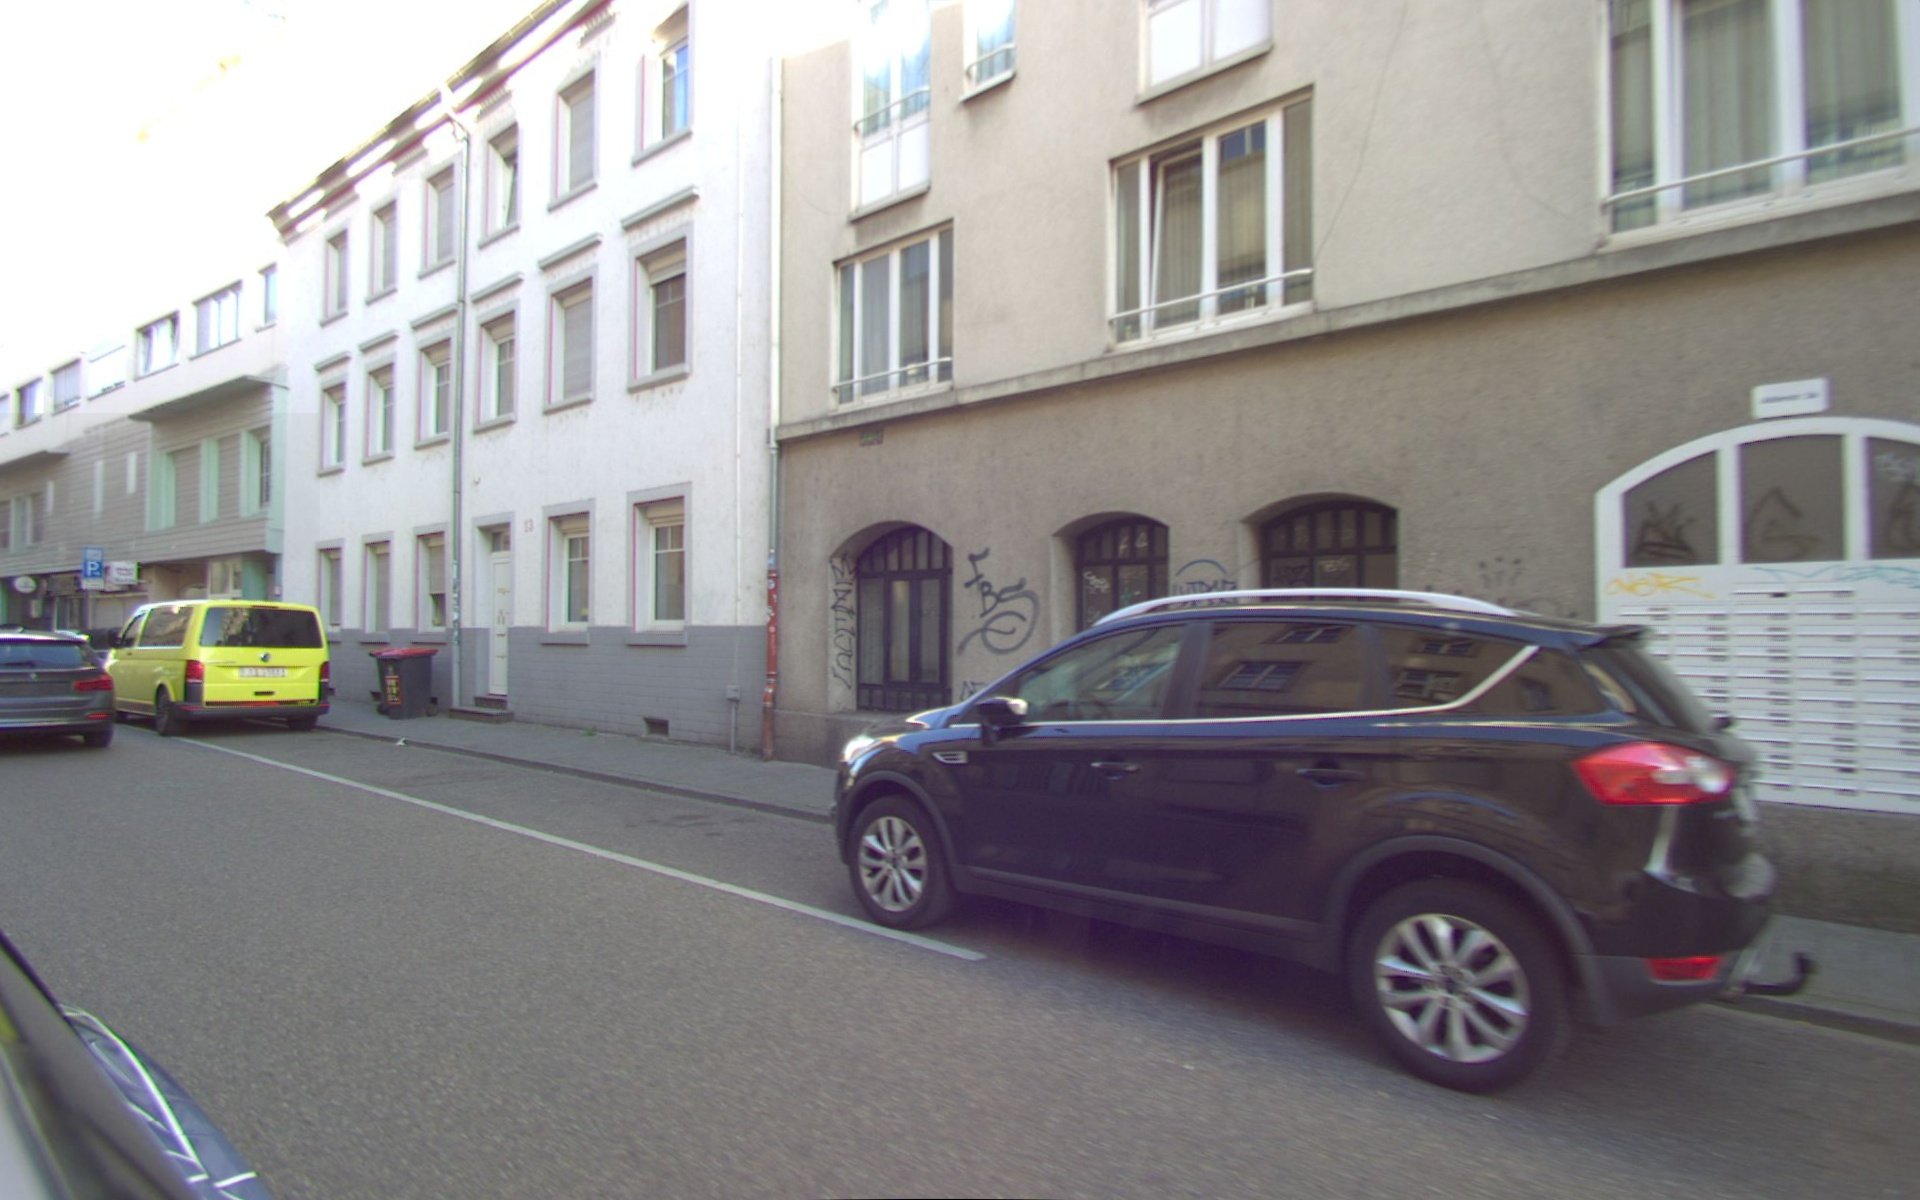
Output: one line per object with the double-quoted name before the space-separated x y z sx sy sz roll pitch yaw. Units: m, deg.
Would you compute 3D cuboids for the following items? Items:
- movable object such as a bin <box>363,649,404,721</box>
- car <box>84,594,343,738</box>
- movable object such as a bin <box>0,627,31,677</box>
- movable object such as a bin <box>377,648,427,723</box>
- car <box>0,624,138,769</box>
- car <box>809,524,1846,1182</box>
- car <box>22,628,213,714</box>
"movable object such as a bin" -9.147 1.344 16.066 0.433 1.113 0.406 -2 -4 40
"car" -11.522 0.984 15.500 4.857 1.881 1.862 -2 -5 38
"movable object such as a bin" -29.654 1.605 31.263 1.338 1.532 1.113 -3 -3 34
"movable object such as a bin" -8.600 1.305 15.602 0.433 1.113 0.535 -2 -4 40
"car" -12.058 1.099 12.536 4.178 1.590 1.701 -1 -3 33
"car" 1.332 0.770 4.742 4.189 1.724 1.721 -2 -6 42
"car" -16.274 1.332 19.498 4.068 1.497 1.802 -1 -5 36
